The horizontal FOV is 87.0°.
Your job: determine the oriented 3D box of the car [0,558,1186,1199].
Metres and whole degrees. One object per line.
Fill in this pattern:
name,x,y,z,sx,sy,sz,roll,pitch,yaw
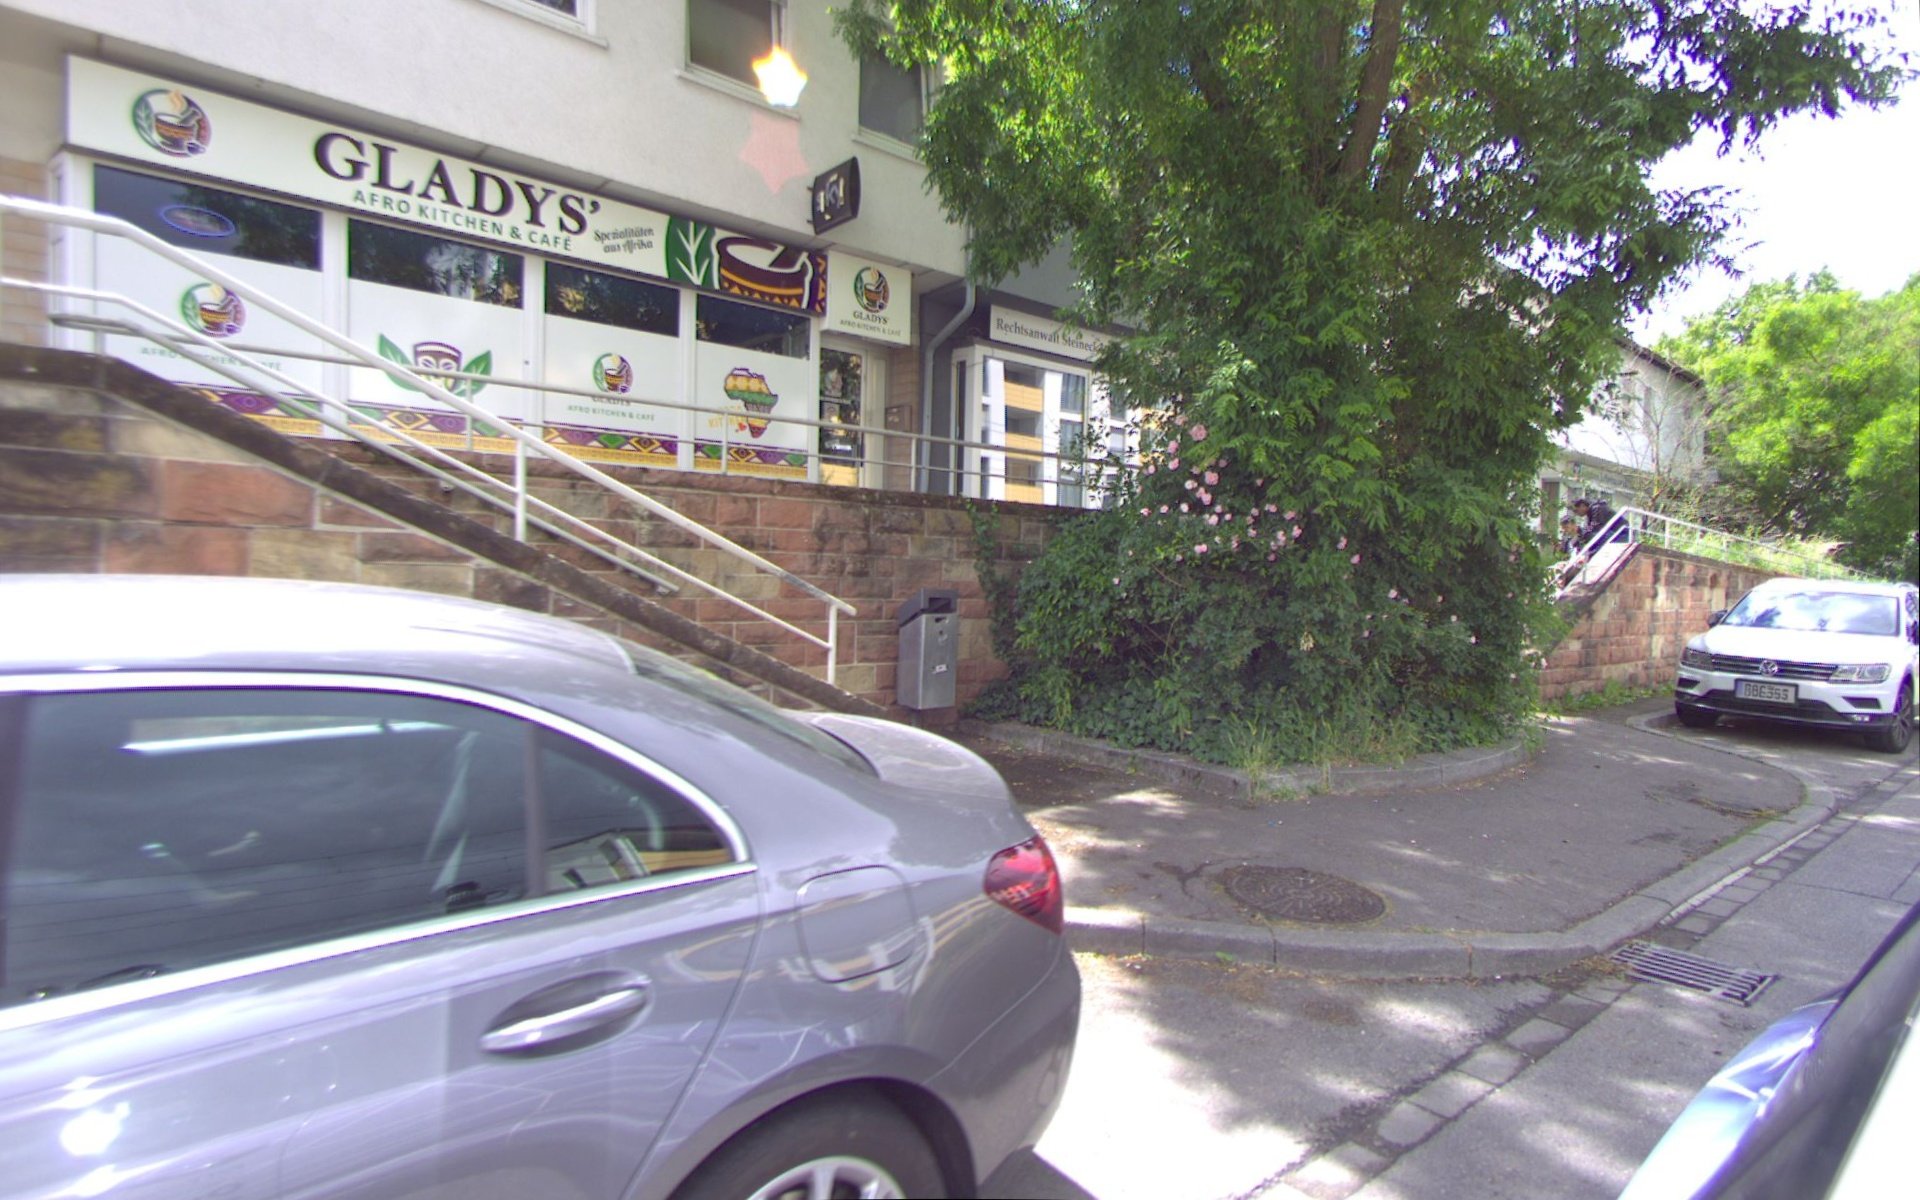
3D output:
car,-1.830,0.660,1.404,4.333,1.422,1.841,1,2,-39

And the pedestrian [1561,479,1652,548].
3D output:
pedestrian,8.211,-1.079,12.863,0.693,0.800,0.796,1,1,-41

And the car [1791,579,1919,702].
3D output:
car,13.300,0.528,14.531,3.415,1.571,1.584,1,1,-42

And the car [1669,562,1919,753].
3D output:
car,9.774,0.510,11.232,4.491,1.703,1.829,1,2,-38

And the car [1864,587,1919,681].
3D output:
car,17.141,0.578,17.554,3.754,1.508,1.648,1,1,-40

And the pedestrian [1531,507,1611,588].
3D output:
pedestrian,7.587,-0.653,12.574,0.605,0.956,0.643,1,3,-41
